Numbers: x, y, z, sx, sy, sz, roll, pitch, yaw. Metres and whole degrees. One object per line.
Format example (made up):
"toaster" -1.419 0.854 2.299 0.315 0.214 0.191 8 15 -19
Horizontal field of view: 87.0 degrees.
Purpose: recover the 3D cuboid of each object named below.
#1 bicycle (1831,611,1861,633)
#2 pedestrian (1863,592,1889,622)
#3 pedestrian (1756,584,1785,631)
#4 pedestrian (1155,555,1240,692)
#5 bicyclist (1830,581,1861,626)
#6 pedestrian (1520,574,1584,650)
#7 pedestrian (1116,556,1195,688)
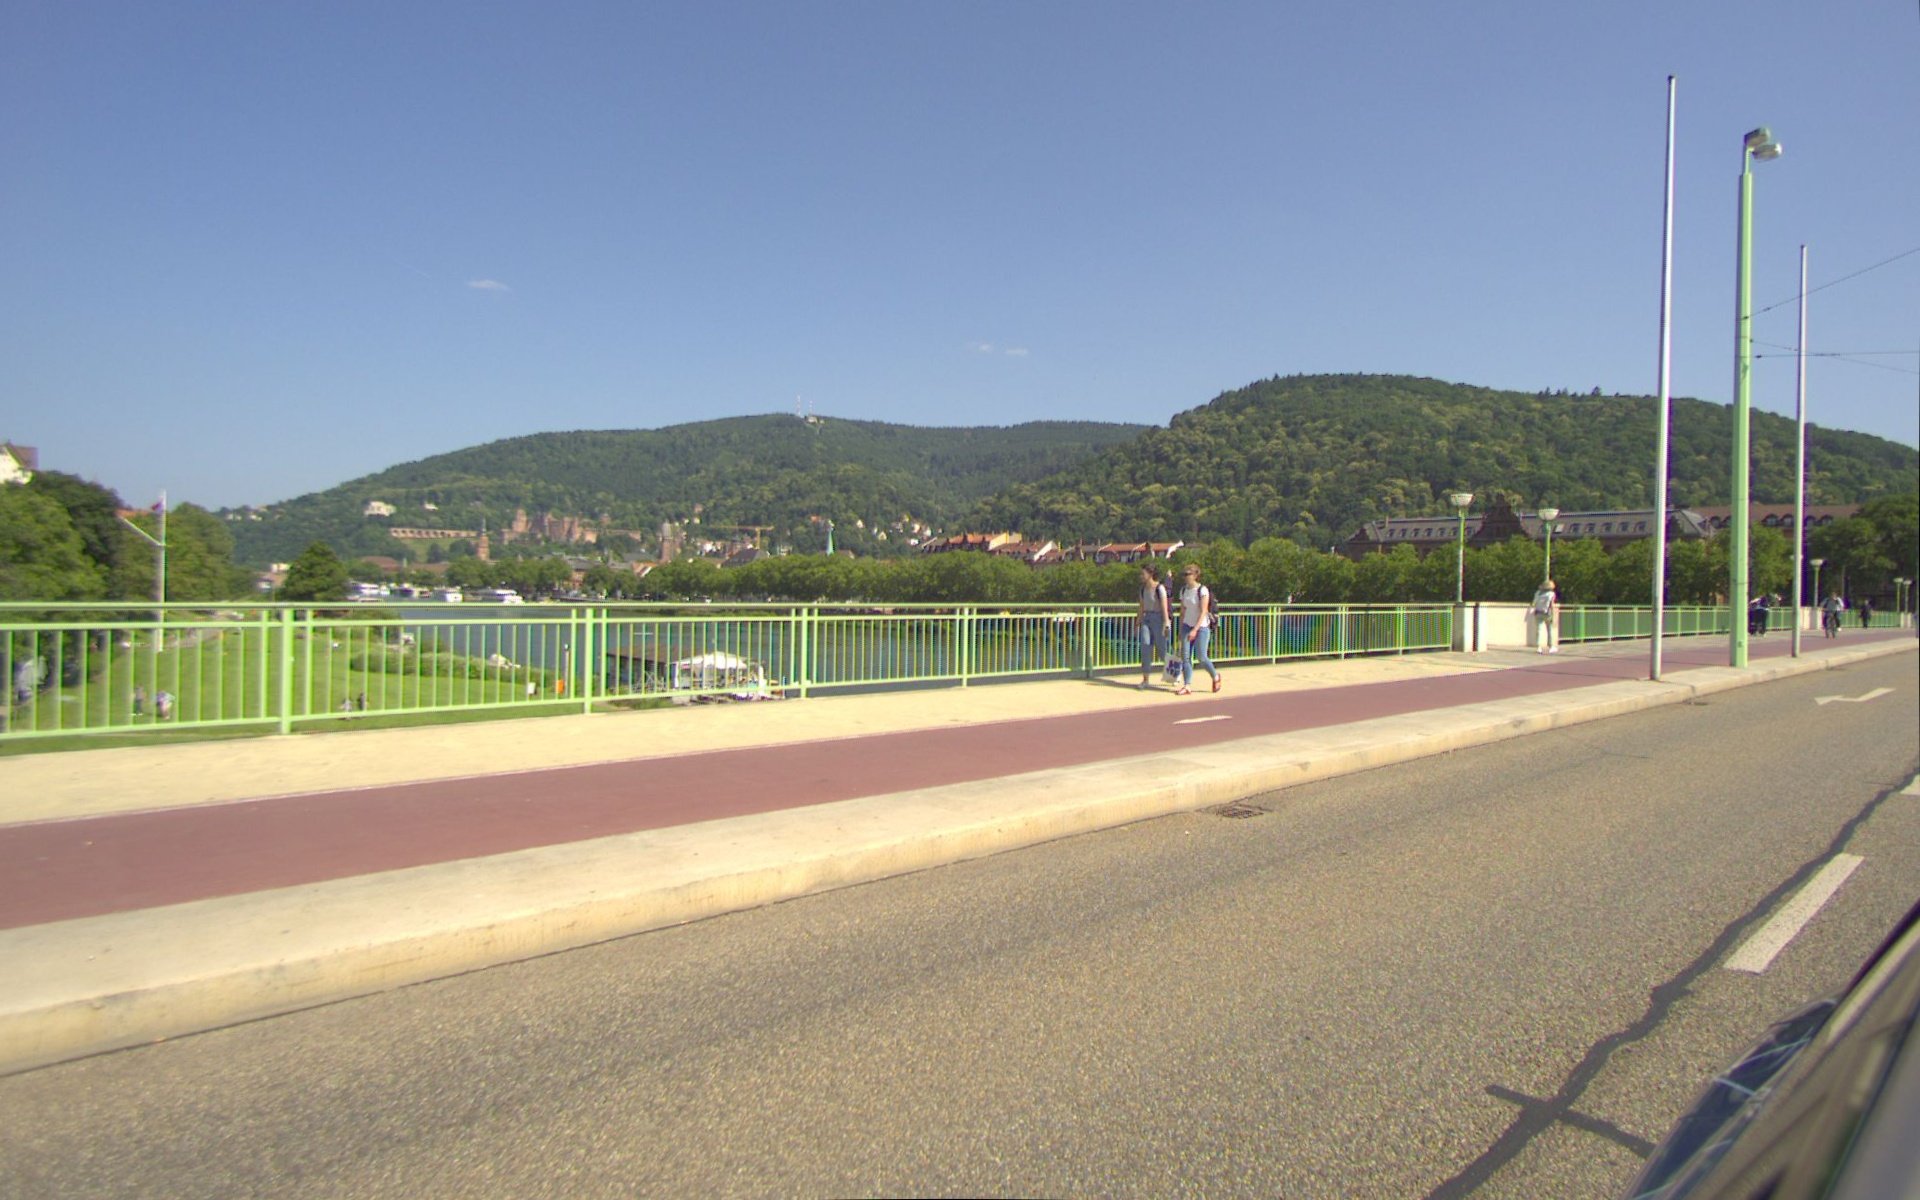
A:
"bicycle" 33.800 0.846 38.605 1.834 0.775 0.595 0 2 -41
"pedestrian" 54.038 0.398 59.718 1.063 1.683 0.949 0 2 -41
"pedestrian" 30.166 0.270 37.661 0.844 1.727 0.664 0 2 -41
"pedestrian" 3.021 0.276 12.868 0.811 1.679 0.664 0 2 -41
"bicyclist" 33.592 0.117 38.395 0.829 1.685 0.731 1 1 -40
"pedestrian" 13.664 0.265 23.362 1.063 1.683 0.949 0 2 -41
"pedestrian" 2.586 0.270 13.411 0.733 1.679 0.668 0 2 -41
